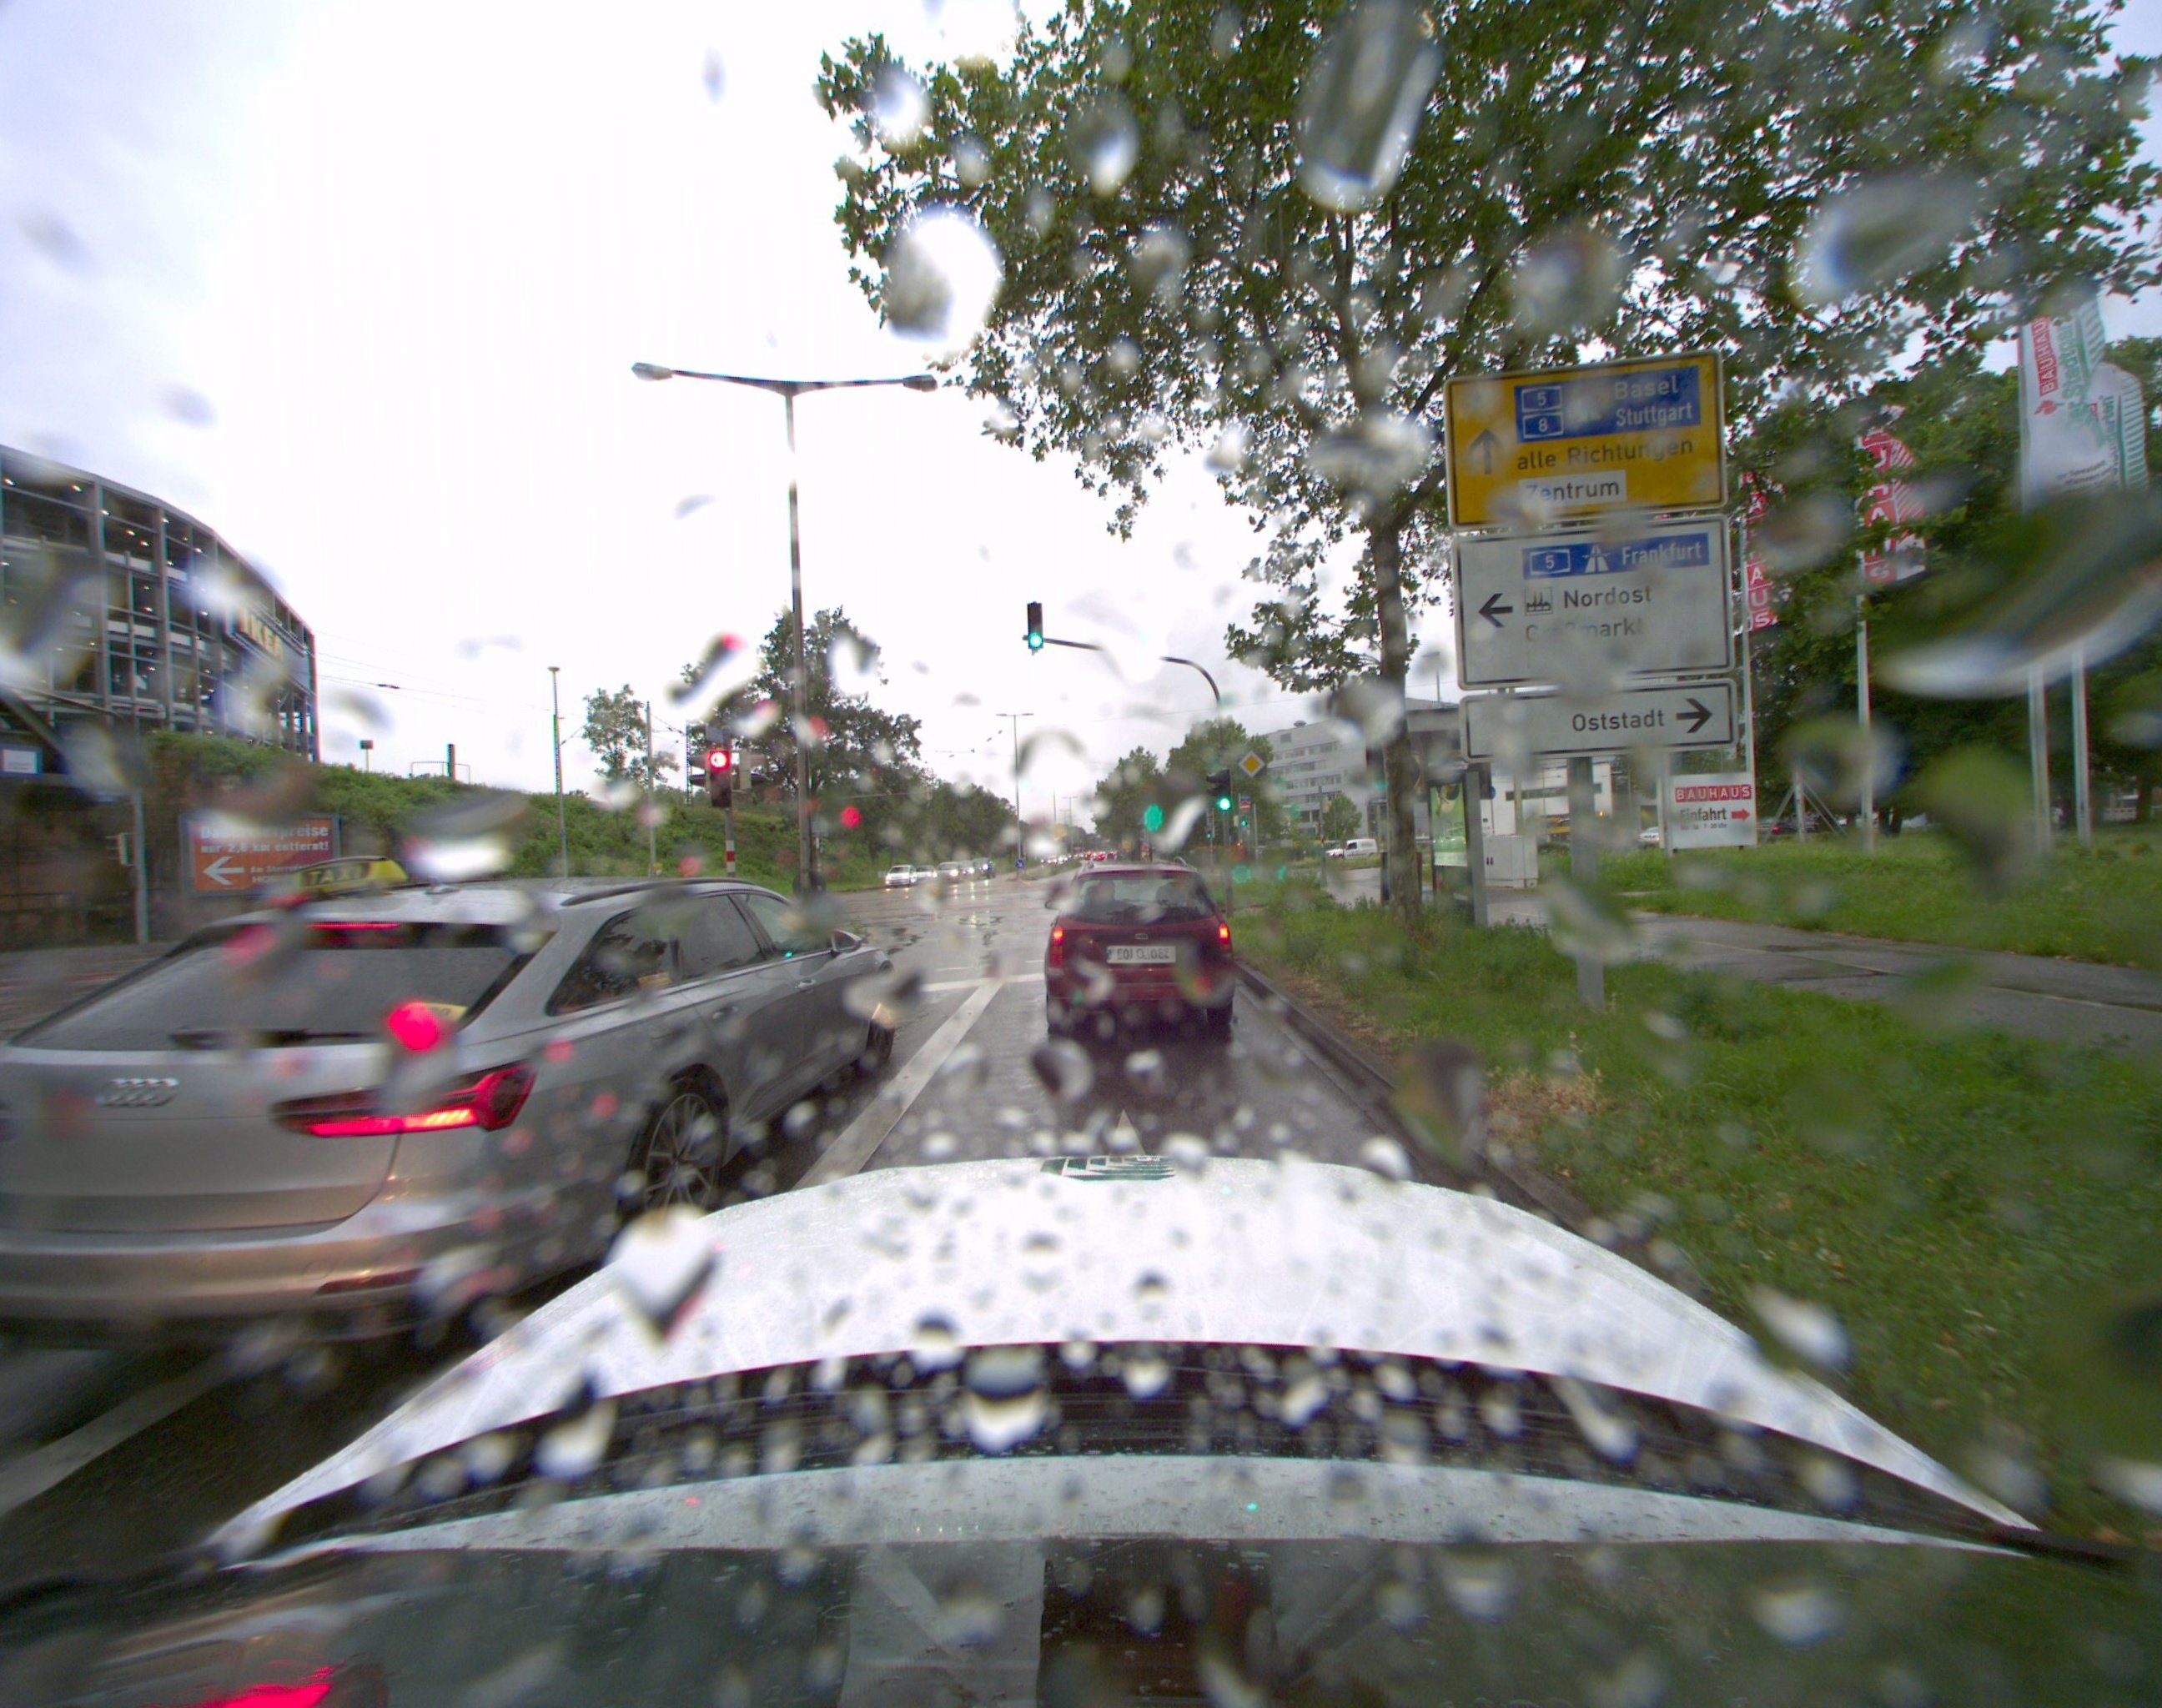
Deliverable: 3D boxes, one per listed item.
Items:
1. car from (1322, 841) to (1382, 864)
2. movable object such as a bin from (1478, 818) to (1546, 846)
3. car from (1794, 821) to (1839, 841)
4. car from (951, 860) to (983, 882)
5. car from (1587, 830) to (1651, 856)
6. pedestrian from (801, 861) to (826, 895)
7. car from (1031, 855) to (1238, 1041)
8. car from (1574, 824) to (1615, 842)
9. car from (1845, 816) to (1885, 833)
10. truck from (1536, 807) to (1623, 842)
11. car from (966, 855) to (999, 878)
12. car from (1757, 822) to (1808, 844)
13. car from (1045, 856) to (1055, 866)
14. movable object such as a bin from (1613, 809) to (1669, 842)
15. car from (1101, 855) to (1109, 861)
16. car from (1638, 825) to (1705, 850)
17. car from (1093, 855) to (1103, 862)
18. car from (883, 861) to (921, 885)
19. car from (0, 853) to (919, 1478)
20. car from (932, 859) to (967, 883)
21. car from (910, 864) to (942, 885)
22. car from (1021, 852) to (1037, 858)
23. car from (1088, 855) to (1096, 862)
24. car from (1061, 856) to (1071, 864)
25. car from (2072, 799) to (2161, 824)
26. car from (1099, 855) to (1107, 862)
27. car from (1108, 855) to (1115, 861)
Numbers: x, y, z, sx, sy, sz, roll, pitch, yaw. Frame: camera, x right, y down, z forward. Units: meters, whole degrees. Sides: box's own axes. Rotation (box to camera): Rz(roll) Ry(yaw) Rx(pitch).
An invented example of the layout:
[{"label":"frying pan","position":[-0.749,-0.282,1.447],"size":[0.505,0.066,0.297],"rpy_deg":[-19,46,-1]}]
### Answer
[{"label":"car","position":[21.774,-0.099,65.402],"size":[4.228,1.726,1.736],"rpy_deg":[-1,0,-9]},{"label":"movable object such as a bin","position":[53.725,-2.717,101.603],"size":[3.342,2.996,6.650],"rpy_deg":[-3,0,-34]},{"label":"car","position":[64.944,-2.004,71.869],"size":[4.645,1.586,1.906],"rpy_deg":[-2,-1,-35]},{"label":"car","position":[-8.774,1.307,63.010],"size":[1.756,1.586,4.813],"rpy_deg":[-3,-1,0]},{"label":"car","position":[32.859,-0.690,49.727],"size":[3.828,1.491,1.662],"rpy_deg":[-1,0,-30]},{"label":"pedestrian","position":[-14.975,1.331,45.599],"size":[1.102,1.847,1.126],"rpy_deg":[-3,0,-10]},{"label":"car","position":[0.455,0.754,8.364],"size":[1.636,1.465,3.733],"rpy_deg":[0,0,1]},{"label":"car","position":[50.957,-2.092,80.815],"size":[4.399,1.621,1.757],"rpy_deg":[-3,0,-34]},{"label":"car","position":[77.203,-2.912,80.184],"size":[4.645,1.586,1.907],"rpy_deg":[-2,-1,-34]},{"label":"truck","position":[57.926,-3.402,94.826],"size":[3.342,3.507,7.806],"rpy_deg":[-3,0,-34]},{"label":"car","position":[-8.532,1.095,71.230],"size":[2.058,1.819,5.542],"rpy_deg":[-3,0,1]},{"label":"car","position":[57.087,-1.677,66.250],"size":[4.644,1.586,1.907],"rpy_deg":[-3,-1,-34]},{"label":"car","position":[-5.664,1.301,150.331],"size":[1.739,1.702,4.280],"rpy_deg":[-4,0,-2]},{"label":"movable object such as a bin","position":[66.802,-3.406,97.099],"size":[6.347,3.507,3.293],"rpy_deg":[-3,0,-34]},{"label":"car","position":[6.771,1.096,230.102],"size":[1.662,1.528,3.852],"rpy_deg":[-3,0,6]},{"label":"car","position":[39.368,-1.107,54.270],"size":[4.847,1.491,1.907],"rpy_deg":[-2,-1,-32]},{"label":"car","position":[3.853,1.061,182.989],"size":[2.138,1.528,4.197],"rpy_deg":[-3,0,4]},{"label":"car","position":[-12.010,1.238,54.888],"size":[1.633,1.452,3.786],"rpy_deg":[-3,0,0]},{"label":"car","position":[-2.295,0.790,4.480],"size":[1.763,1.574,4.821],"rpy_deg":[0,0,1]},{"label":"car","position":[-8.996,1.144,55.923],"size":[1.632,1.473,3.965],"rpy_deg":[-3,0,1]},{"label":"car","position":[-11.605,1.519,61.267],"size":[1.585,1.404,3.823],"rpy_deg":[-3,0,1]},{"label":"car","position":[-15.578,0.298,243.534],"size":[4.301,1.597,1.948],"rpy_deg":[-3,0,-34]},{"label":"car","position":[2.719,1.132,202.160],"size":[1.691,1.528,3.849],"rpy_deg":[-3,0,3]},{"label":"car","position":[-3.584,1.383,195.099],"size":[1.956,1.702,4.285],"rpy_deg":[-3,0,2]},{"label":"car","position":[88.504,-3.613,68.767],"size":[2.286,1.731,5.899],"rpy_deg":[-3,-1,-33]},{"label":"car","position":[5.274,0.988,193.630],"size":[1.691,1.528,3.849],"rpy_deg":[-3,0,3]},{"label":"car","position":[7.843,0.992,208.144],"size":[1.664,1.528,3.849],"rpy_deg":[-3,0,3]}]
